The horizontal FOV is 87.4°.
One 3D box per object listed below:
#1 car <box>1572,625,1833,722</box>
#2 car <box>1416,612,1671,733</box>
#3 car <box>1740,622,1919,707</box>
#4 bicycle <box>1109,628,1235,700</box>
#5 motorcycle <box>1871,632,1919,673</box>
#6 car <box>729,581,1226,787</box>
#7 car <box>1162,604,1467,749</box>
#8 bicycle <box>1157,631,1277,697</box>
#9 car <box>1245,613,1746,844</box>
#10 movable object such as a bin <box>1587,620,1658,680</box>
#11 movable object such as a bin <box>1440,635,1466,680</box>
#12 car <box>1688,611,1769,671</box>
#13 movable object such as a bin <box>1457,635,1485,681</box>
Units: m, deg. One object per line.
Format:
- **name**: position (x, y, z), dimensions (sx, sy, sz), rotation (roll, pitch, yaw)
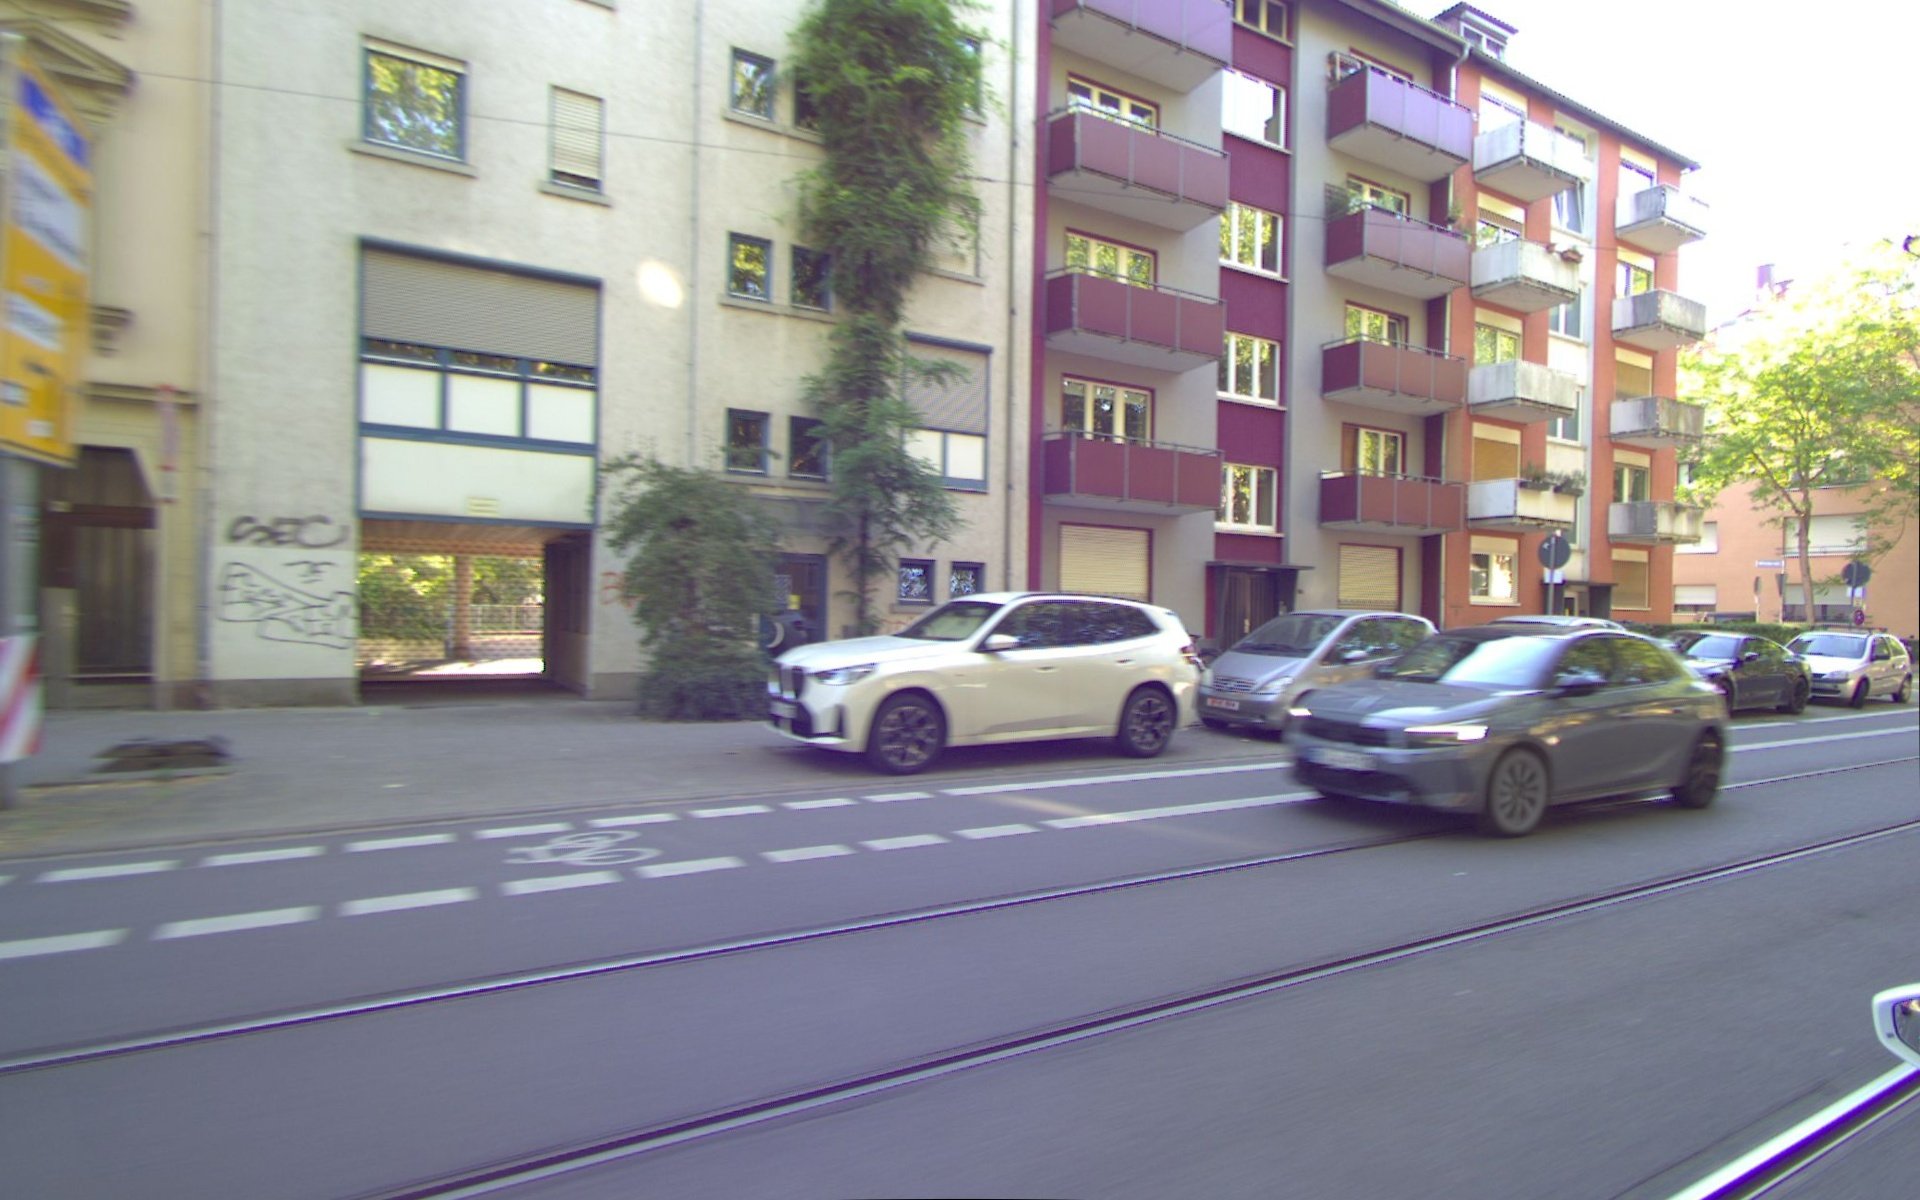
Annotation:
- **car**: position (13.343, 1.244, 18.000), dimensions (4.804, 1.414, 1.943), rotation (1, 2, -30)
- **car**: position (9.111, 1.039, 15.625), dimensions (3.962, 1.608, 1.809), rotation (1, 1, -33)
- **car**: position (17.919, 1.265, 20.627), dimensions (3.886, 1.503, 1.716), rotation (1, 2, -32)
- **bicycle**: position (3.756, 1.107, 18.068), dimensions (0.691, 1.076, 2.436), rotation (1, 1, -32)
- **motorcycle**: position (32.998, 1.812, 35.308), dimensions (2.323, 1.298, 0.897), rotation (-1, 1, -33)
- **car**: position (0.286, 0.740, 10.371), dimensions (4.827, 1.670, 1.942), rotation (2, 1, -32)
- **car**: position (4.610, 0.918, 12.979), dimensions (3.736, 1.593, 1.618), rotation (2, 1, -29)
- **bicycle**: position (4.733, 1.153, 18.648), dimensions (0.691, 1.006, 2.276), rotation (1, 1, -33)
- **car**: position (4.409, 0.866, 8.166), dimensions (4.005, 1.465, 1.787), rotation (1, -2, -30)
- **movable object such as a bin**: position (15.894, 1.177, 24.113), dimensions (0.738, 1.383, 1.206), rotation (1, -1, -28)
- **movable object such as a bin**: position (11.265, 1.312, 22.947), dimensions (0.347, 1.019, 0.398), rotation (1, -1, -29)
- **car**: position (30.209, 1.558, 39.602), dimensions (1.965, 2.151, 4.713), rotation (2, 0, 31)
- **movable object such as a bin**: position (11.490, 1.304, 22.578), dimensions (0.347, 1.019, 0.431), rotation (1, -1, -29)
